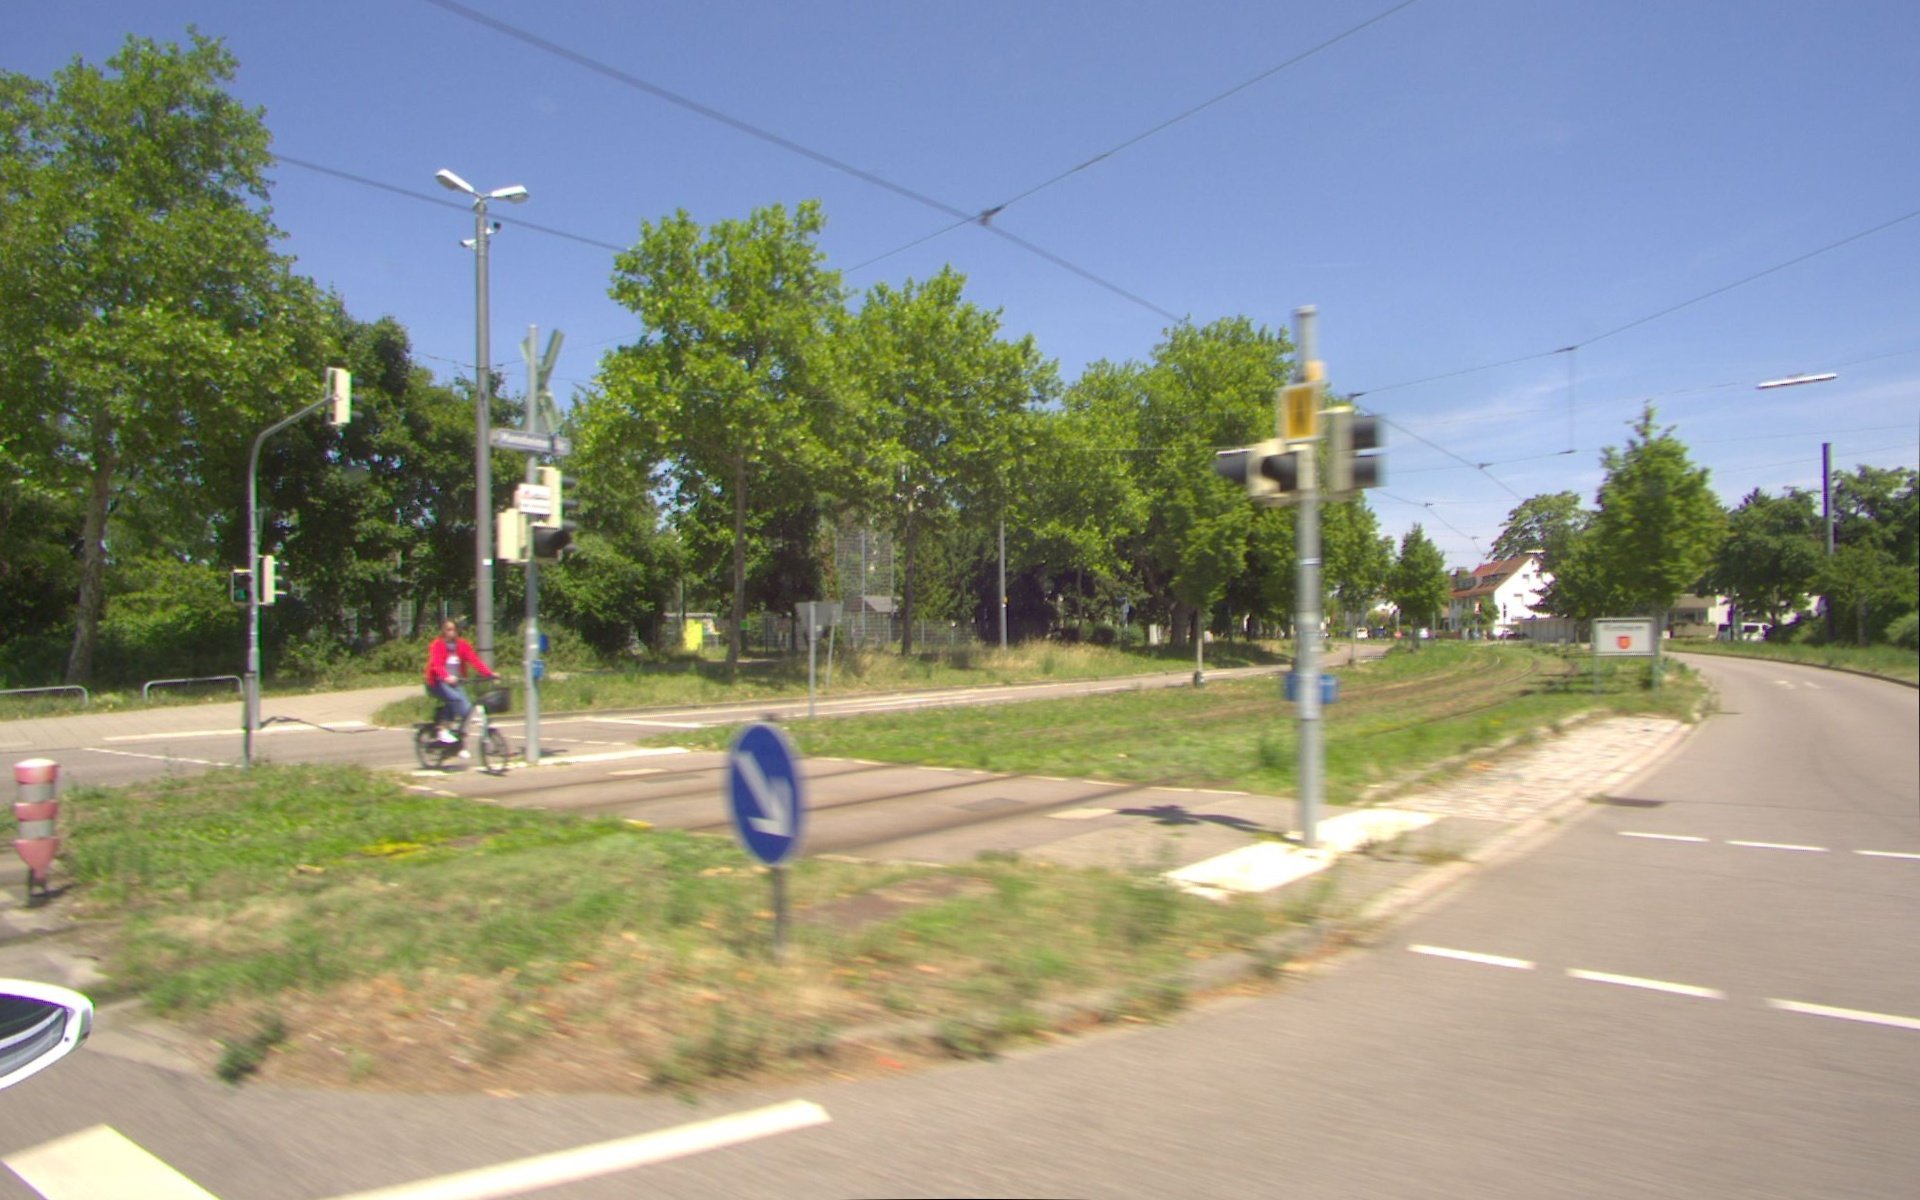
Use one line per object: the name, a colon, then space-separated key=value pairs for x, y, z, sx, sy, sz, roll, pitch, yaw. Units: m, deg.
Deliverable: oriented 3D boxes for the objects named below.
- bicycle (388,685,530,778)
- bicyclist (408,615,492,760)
bicycle: x=-5.663 y=1.450 z=11.284 sx=1.785 sy=0.907 sz=0.586 roll=-1 pitch=-2 yaw=32
bicyclist: x=-5.777 y=0.968 z=11.352 sx=0.664 sy=1.576 sz=0.577 roll=-1 pitch=-1 yaw=31
